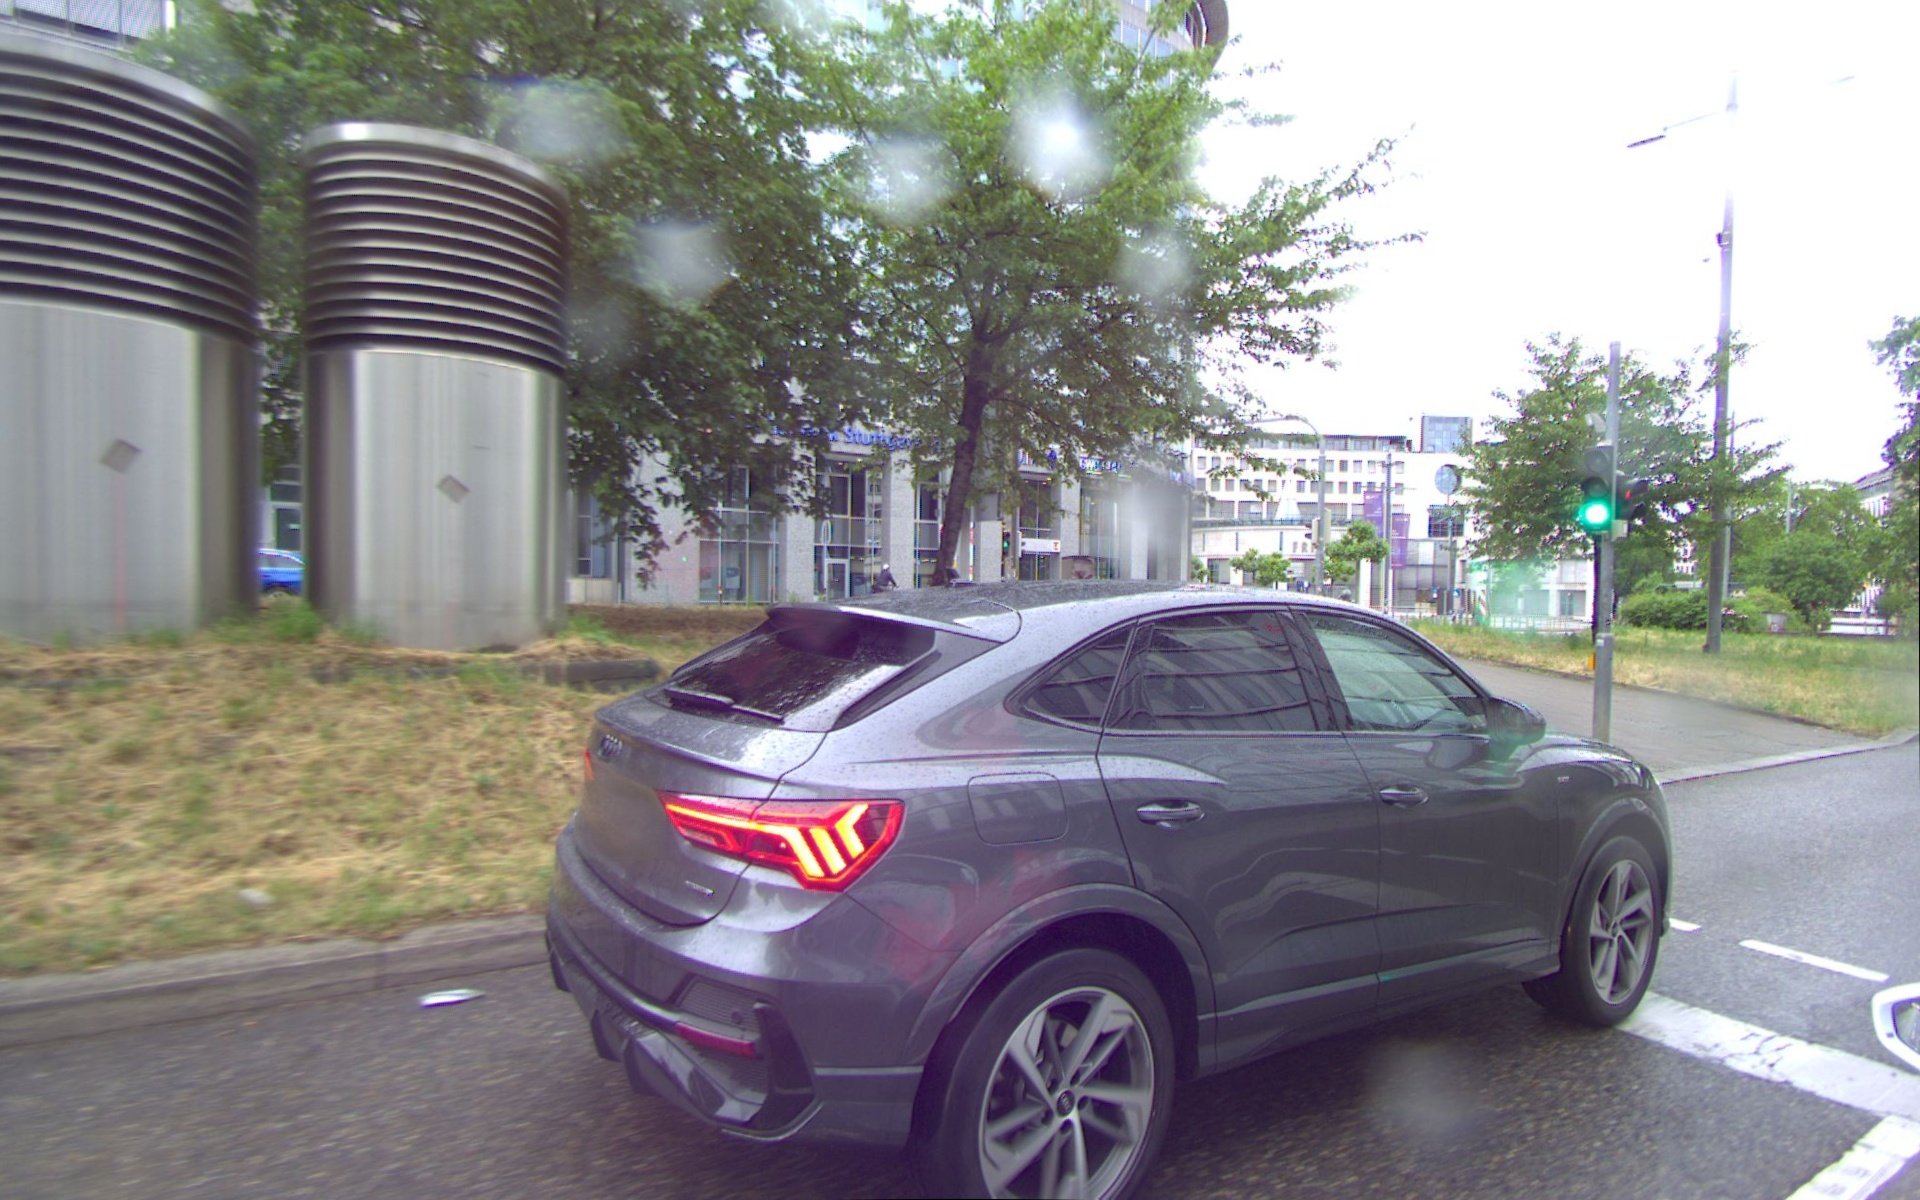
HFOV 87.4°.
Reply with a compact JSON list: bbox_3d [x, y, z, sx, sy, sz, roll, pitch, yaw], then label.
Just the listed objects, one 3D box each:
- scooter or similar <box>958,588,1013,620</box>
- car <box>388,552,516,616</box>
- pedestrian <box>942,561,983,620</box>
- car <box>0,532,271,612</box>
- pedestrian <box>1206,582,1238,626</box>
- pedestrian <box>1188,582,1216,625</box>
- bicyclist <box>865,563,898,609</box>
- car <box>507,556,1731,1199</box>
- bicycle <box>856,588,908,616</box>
[{"bbox_3d":[1.039,0.185,41.038,2.226,1.229,0.767,2,1,-37],"label":"scooter or similar"},{"bbox_3d":[-12.195,-0.375,24.149,2.600,1.404,1.232,2,2,-34],"label":"car"},{"bbox_3d":[0.087,-0.306,33.309,0.946,1.906,0.927,2,0,44],"label":"pedestrian"},{"bbox_3d":[-16.594,-0.541,20.313,4.282,1.404,1.662,2,2,-38],"label":"car"},{"bbox_3d":[12.379,0.185,47.512,1.041,2.040,1.029,2,0,44],"label":"pedestrian"},{"bbox_3d":[11.600,0.163,48.169,0.840,2.040,1.029,2,0,44],"label":"pedestrian"},{"bbox_3d":[-3.059,-0.546,39.336,1.031,1.764,0.732,1,0,-35],"label":"bicyclist"},{"bbox_3d":[0.842,0.731,3.669,4.300,1.538,1.849,2,0,-34],"label":"car"},{"bbox_3d":[-3.058,0.087,39.355,1.915,1.020,0.739,2,0,-36],"label":"bicycle"}]
